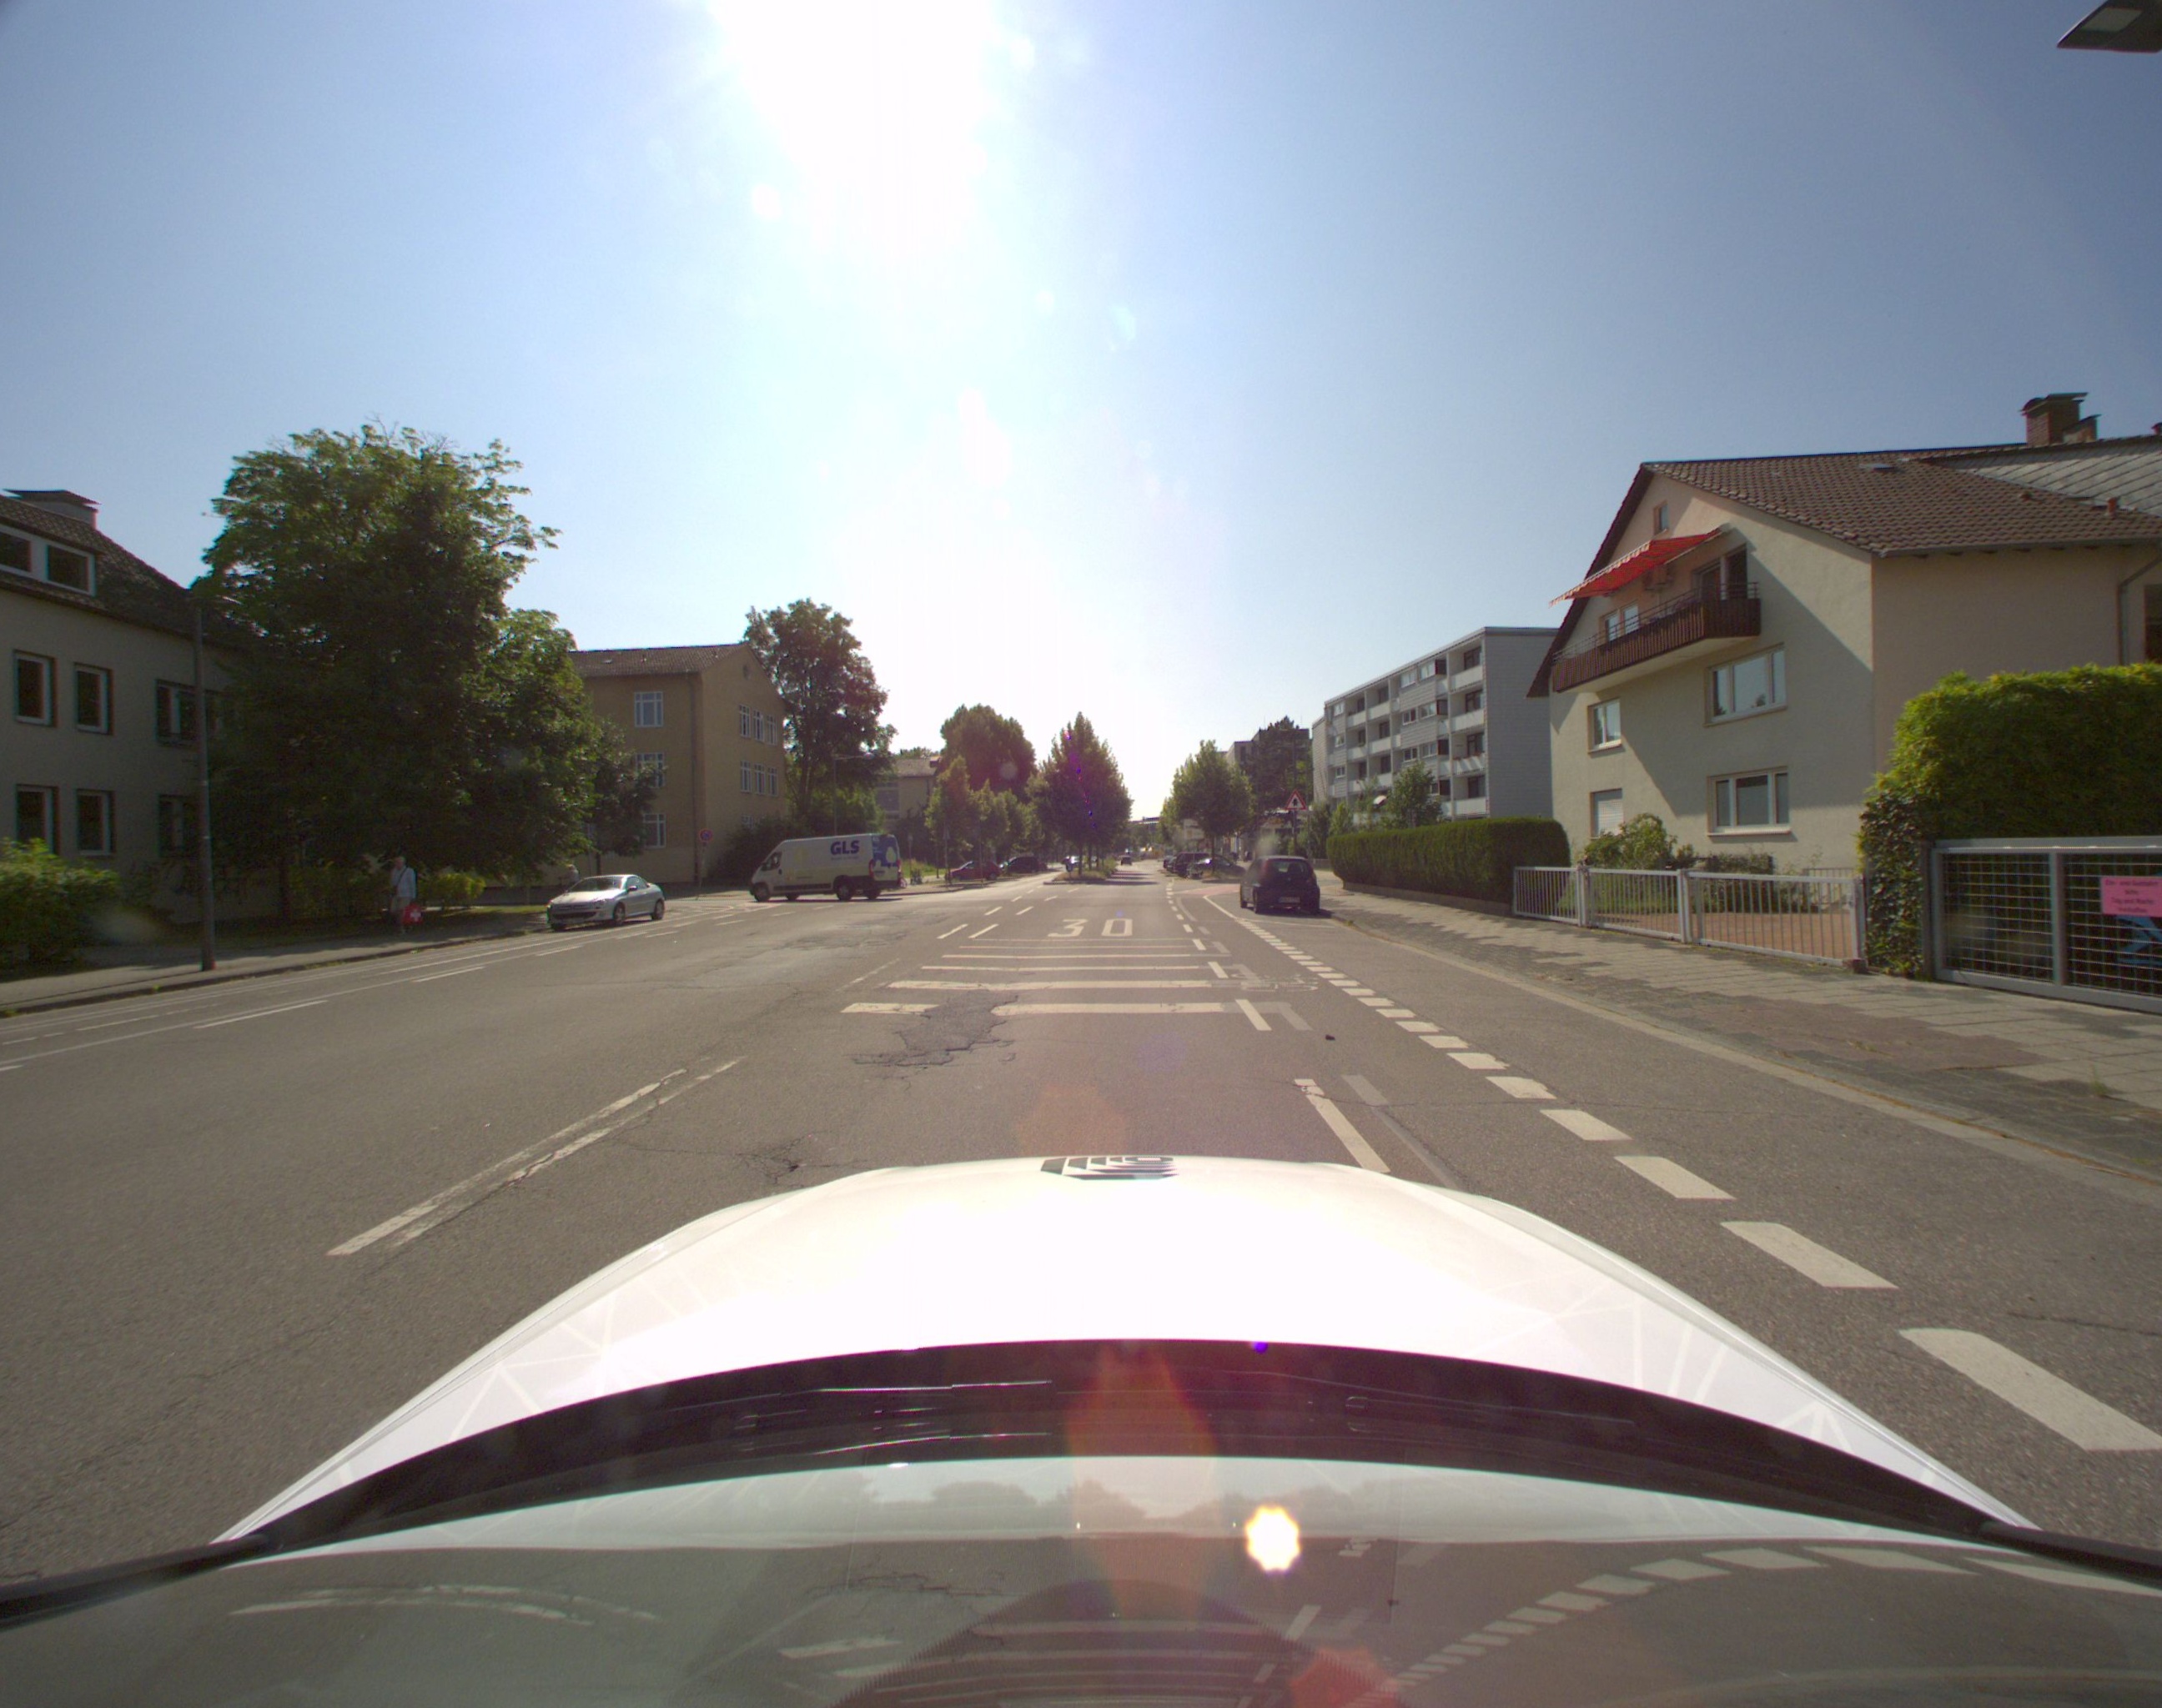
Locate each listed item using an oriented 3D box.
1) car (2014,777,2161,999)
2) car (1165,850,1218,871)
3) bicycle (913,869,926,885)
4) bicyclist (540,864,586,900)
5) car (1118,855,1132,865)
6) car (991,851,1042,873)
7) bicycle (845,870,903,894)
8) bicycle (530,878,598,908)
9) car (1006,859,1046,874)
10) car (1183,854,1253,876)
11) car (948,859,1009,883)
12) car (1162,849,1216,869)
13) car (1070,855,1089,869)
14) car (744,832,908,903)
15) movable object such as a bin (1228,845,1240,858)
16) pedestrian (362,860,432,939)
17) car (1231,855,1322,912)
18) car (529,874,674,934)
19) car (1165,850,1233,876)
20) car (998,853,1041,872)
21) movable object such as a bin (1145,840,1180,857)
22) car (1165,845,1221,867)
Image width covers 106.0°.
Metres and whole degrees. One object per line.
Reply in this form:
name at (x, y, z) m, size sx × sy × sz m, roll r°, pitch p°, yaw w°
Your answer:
car at (10.819, 0.203, 6.234) m, size 5.069 × 1.706 × 1.978 m, roll -1°, pitch 0°, yaw 0°
car at (9.130, 0.517, 67.404) m, size 3.985 × 1.640 × 1.748 m, roll -1°, pitch 0°, yaw -9°
bicycle at (-9.862, 1.398, 49.830) m, size 0.519 × 0.903 × 1.270 m, roll -3°, pitch -1°, yaw -1°
bicyclist at (-22.094, 1.190, 34.720) m, size 1.340 × 1.403 × 0.964 m, roll -3°, pitch 0°, yaw 18°
car at (6.832, 0.901, 125.795) m, size 1.987 × 1.398 × 4.000 m, roll -1°, pitch 0°, yaw 1°
car at (-5.889, 0.743, 74.191) m, size 4.205 × 1.816 × 1.983 m, roll -2°, pitch 0°, yaw -34°
bicycle at (-10.063, 1.353, 39.625) m, size 2.535 × 0.987 × 0.740 m, roll -3°, pitch 0°, yaw 1°
bicycle at (-22.013, 1.658, 34.669) m, size 2.525 × 1.113 × 0.964 m, roll -3°, pitch 0°, yaw 17°
car at (-5.714, 1.319, 84.783) m, size 3.856 × 1.423 × 1.698 m, roll -1°, pitch -1°, yaw -32°
car at (8.625, 0.676, 51.216) m, size 4.003 × 1.236 × 1.740 m, roll -1°, pitch 0°, yaw -22°
car at (-7.307, 1.164, 58.139) m, size 3.997 × 1.466 × 1.988 m, roll -3°, pitch 0°, yaw -17°
car at (9.755, 0.475, 73.605) m, size 4.761 × 1.660 × 1.736 m, roll -1°, pitch 0°, yaw -30°
car at (-0.145, 0.984, 96.651) m, size 1.733 × 1.547 × 4.078 m, roll -3°, pitch -1°, yaw 5°
car at (-10.338, 0.564, 33.028) m, size 6.064 × 2.524 × 2.295 m, roll -3°, pitch 0°, yaw 20°
movable object such as a bin at (19.734, -0.351, 105.059) m, size 1.303 × 1.592 × 1.396 m, roll -4°, pitch 0°, yaw 1°
pedestrian at (-15.944, 1.047, 18.997) m, size 0.970 × 1.780 × 0.725 m, roll -2°, pitch 0°, yaw 0°
car at (5.113, 0.731, 21.788) m, size 1.610 × 1.390 × 4.002 m, roll 0°, pitch 0°, yaw 2°
car at (-12.869, 1.282, 22.171) m, size 1.717 × 1.266 × 3.995 m, roll -3°, pitch 0°, yaw -4°
car at (7.846, 0.587, 54.191) m, size 4.132 × 1.640 × 2.025 m, roll -1°, pitch 0°, yaw -30°
car at (-6.081, 0.862, 80.235) m, size 3.780 × 1.772 × 1.804 m, roll -1°, pitch -1°, yaw -24°
movable object such as a bin at (22.753, -1.613, 227.502) m, size 9.628 × 4.550 × 3.169 m, roll -1°, pitch 0°, yaw 5°
car at (8.846, 0.146, 64.472) m, size 3.996 × 1.640 × 1.743 m, roll -2°, pitch 1°, yaw -17°
